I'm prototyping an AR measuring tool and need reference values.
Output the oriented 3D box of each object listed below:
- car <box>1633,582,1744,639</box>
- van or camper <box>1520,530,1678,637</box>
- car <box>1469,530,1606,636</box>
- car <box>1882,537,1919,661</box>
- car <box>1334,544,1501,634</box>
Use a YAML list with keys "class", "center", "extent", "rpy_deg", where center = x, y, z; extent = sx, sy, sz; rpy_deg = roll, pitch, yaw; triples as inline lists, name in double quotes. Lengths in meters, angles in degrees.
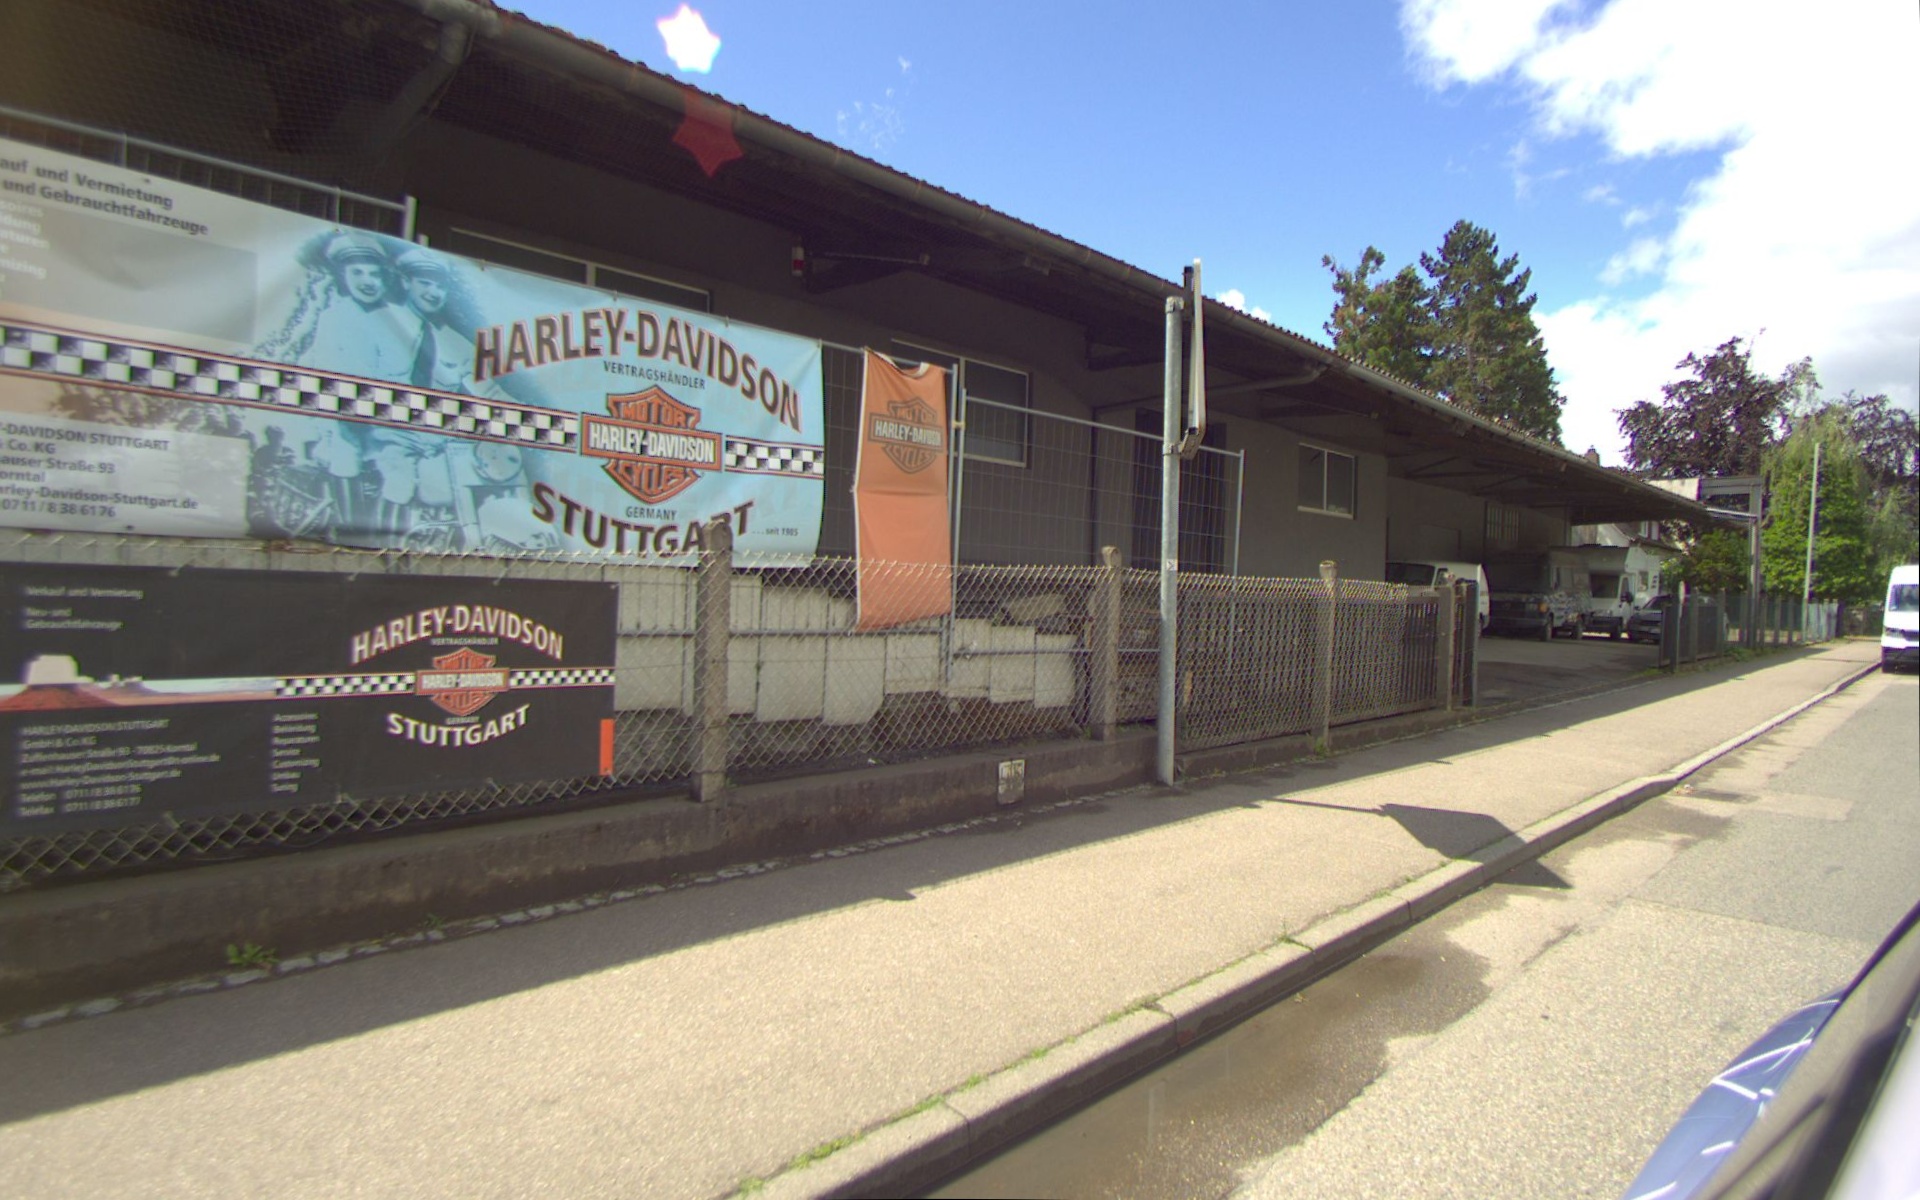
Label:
- class: "car"
  center: [20.986, 0.291, 29.055]
  extent: [4.844, 1.508, 1.766]
  rpy_deg: [1, 0, -44]
- class: "van or camper"
  center: [20.619, -0.515, 32.503]
  extent: [2.882, 3.099, 6.802]
  rpy_deg: [2, 1, 45]
- class: "car"
  center: [16.353, -0.412, 28.505]
  extent: [2.018, 2.715, 5.408]
  rpy_deg: [2, 0, 44]
- class: "car"
  center: [23.847, -0.008, 24.285]
  extent: [2.216, 2.722, 6.550]
  rpy_deg: [3, 2, 45]
- class: "car"
  center: [11.026, -0.237, 24.216]
  extent: [4.772, 1.934, 1.995]
  rpy_deg: [1, 1, -44]
